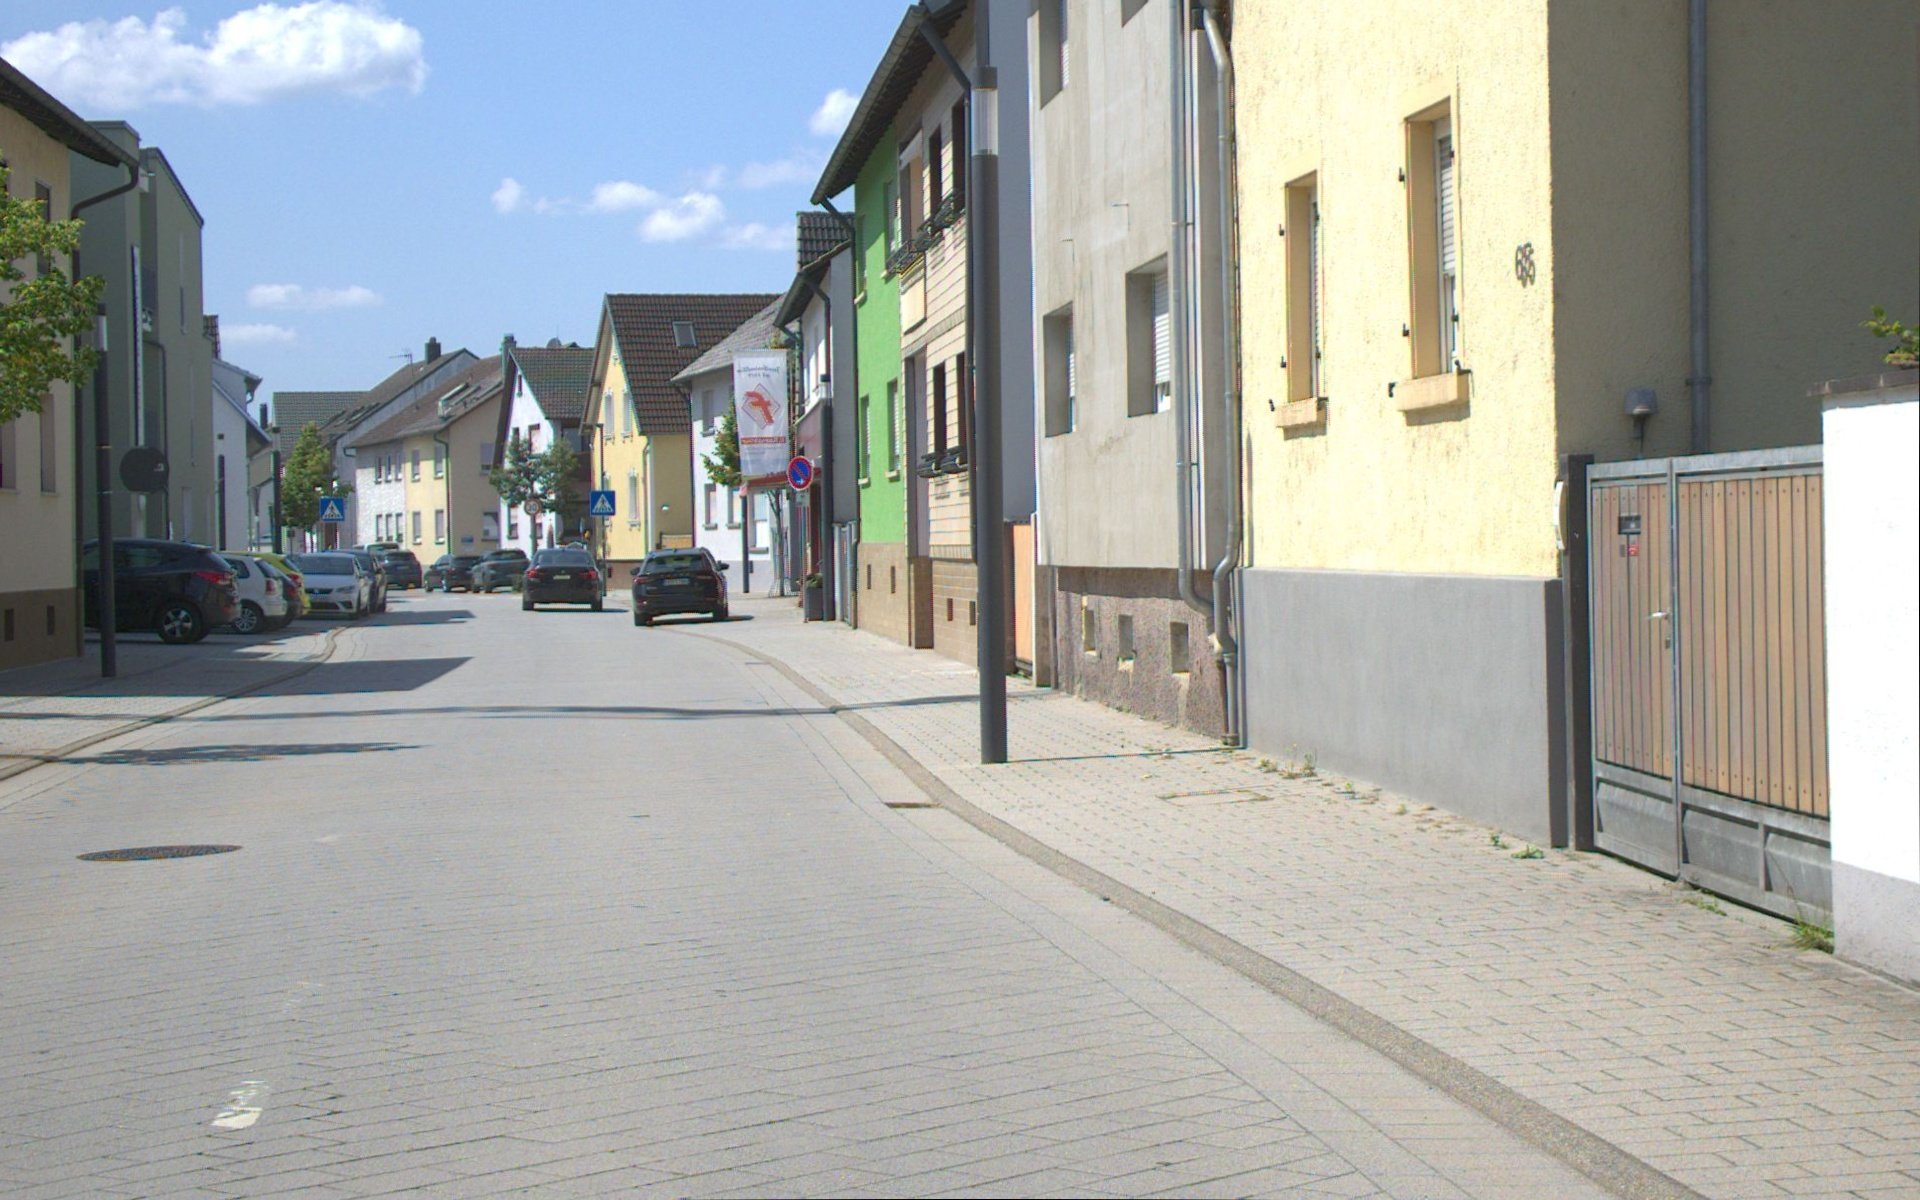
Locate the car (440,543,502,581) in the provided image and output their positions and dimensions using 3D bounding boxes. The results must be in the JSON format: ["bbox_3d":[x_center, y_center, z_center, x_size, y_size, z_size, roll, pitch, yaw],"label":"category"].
[{"bbox_3d":[-18.697,-1.469,131.364,1.710,1.382,3.707,-1,2,-17],"label":"car"}]

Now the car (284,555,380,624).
[{"bbox_3d":[-13.980,-0.249,76.685,1.757,1.406,3.878,1,1,-5],"label":"car"}]

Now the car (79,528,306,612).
[{"bbox_3d":[-14.574,-0.582,65.443,3.986,1.437,1.691,2,1,-5],"label":"car"}]

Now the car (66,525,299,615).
[{"bbox_3d":[-14.250,-0.559,63.156,3.900,1.497,1.751,2,1,-4],"label":"car"}]

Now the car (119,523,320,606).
[{"bbox_3d":[-14.695,-0.717,68.370,3.691,1.520,1.673,1,1,-5],"label":"car"}]

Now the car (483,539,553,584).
[{"bbox_3d":[-15.950,-1.397,124.040,1.846,1.557,3.695,-1,2,-17],"label":"car"}]

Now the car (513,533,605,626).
[{"bbox_3d":[-9.439,-0.517,80.619,1.993,2.050,4.375,-1,2,-8],"label":"car"}]

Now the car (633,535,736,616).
[{"bbox_3d":[-5.435,-0.513,68.215,1.858,1.454,4.587,-3,1,-3],"label":"car"}]

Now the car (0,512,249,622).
[{"bbox_3d":[-13.693,-0.545,55.342,4.218,1.652,1.785,1,1,-6],"label":"car"}]

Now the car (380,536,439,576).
[{"bbox_3d":[-23.152,-1.866,144.531,1.877,1.585,4.001,-1,2,-17],"label":"car"}]
